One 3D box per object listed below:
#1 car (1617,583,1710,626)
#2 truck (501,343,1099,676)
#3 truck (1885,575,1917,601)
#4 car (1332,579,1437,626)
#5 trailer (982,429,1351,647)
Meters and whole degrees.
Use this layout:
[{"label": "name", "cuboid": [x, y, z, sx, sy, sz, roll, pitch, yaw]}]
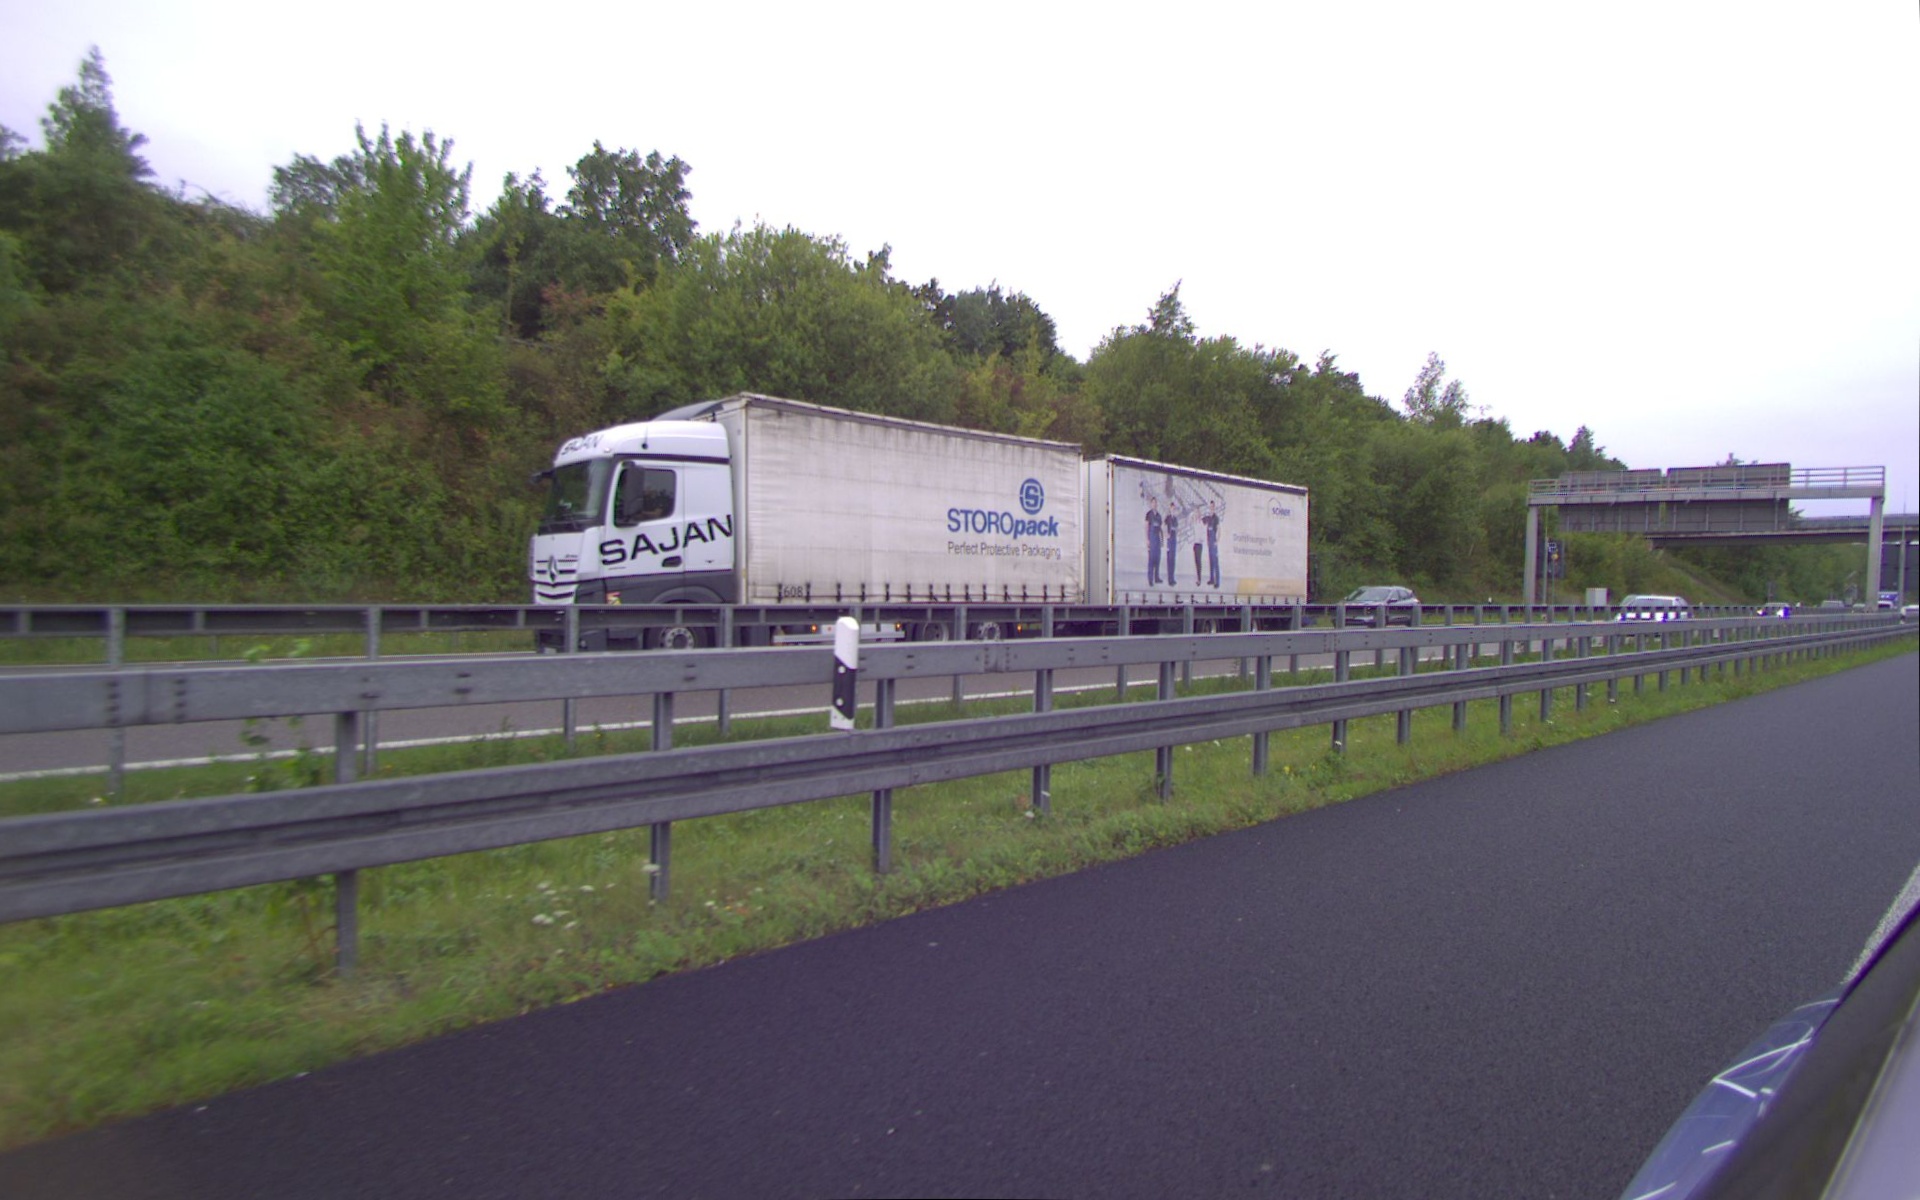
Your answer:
[{"label": "car", "cuboid": [25.478, 0.118, 36.620, 4.086, 1.465, 1.863, 0, 1, -42]}, {"label": "truck", "cuboid": [-2.213, -1.231, 17.940, 10.238, 4.343, 3.442, 0, 1, -42]}, {"label": "truck", "cuboid": [132.077, -1.700, 141.992, 9.130, 3.460, 2.904, -1, 1, -44]}, {"label": "car", "cuboid": [15.998, 0.056, 38.070, 4.420, 1.634, 1.863, 0, 1, -40]}, {"label": "trailer", "cuboid": [5.476, -1.290, 24.909, 10.274, 4.343, 3.442, 0, 1, -42]}]
